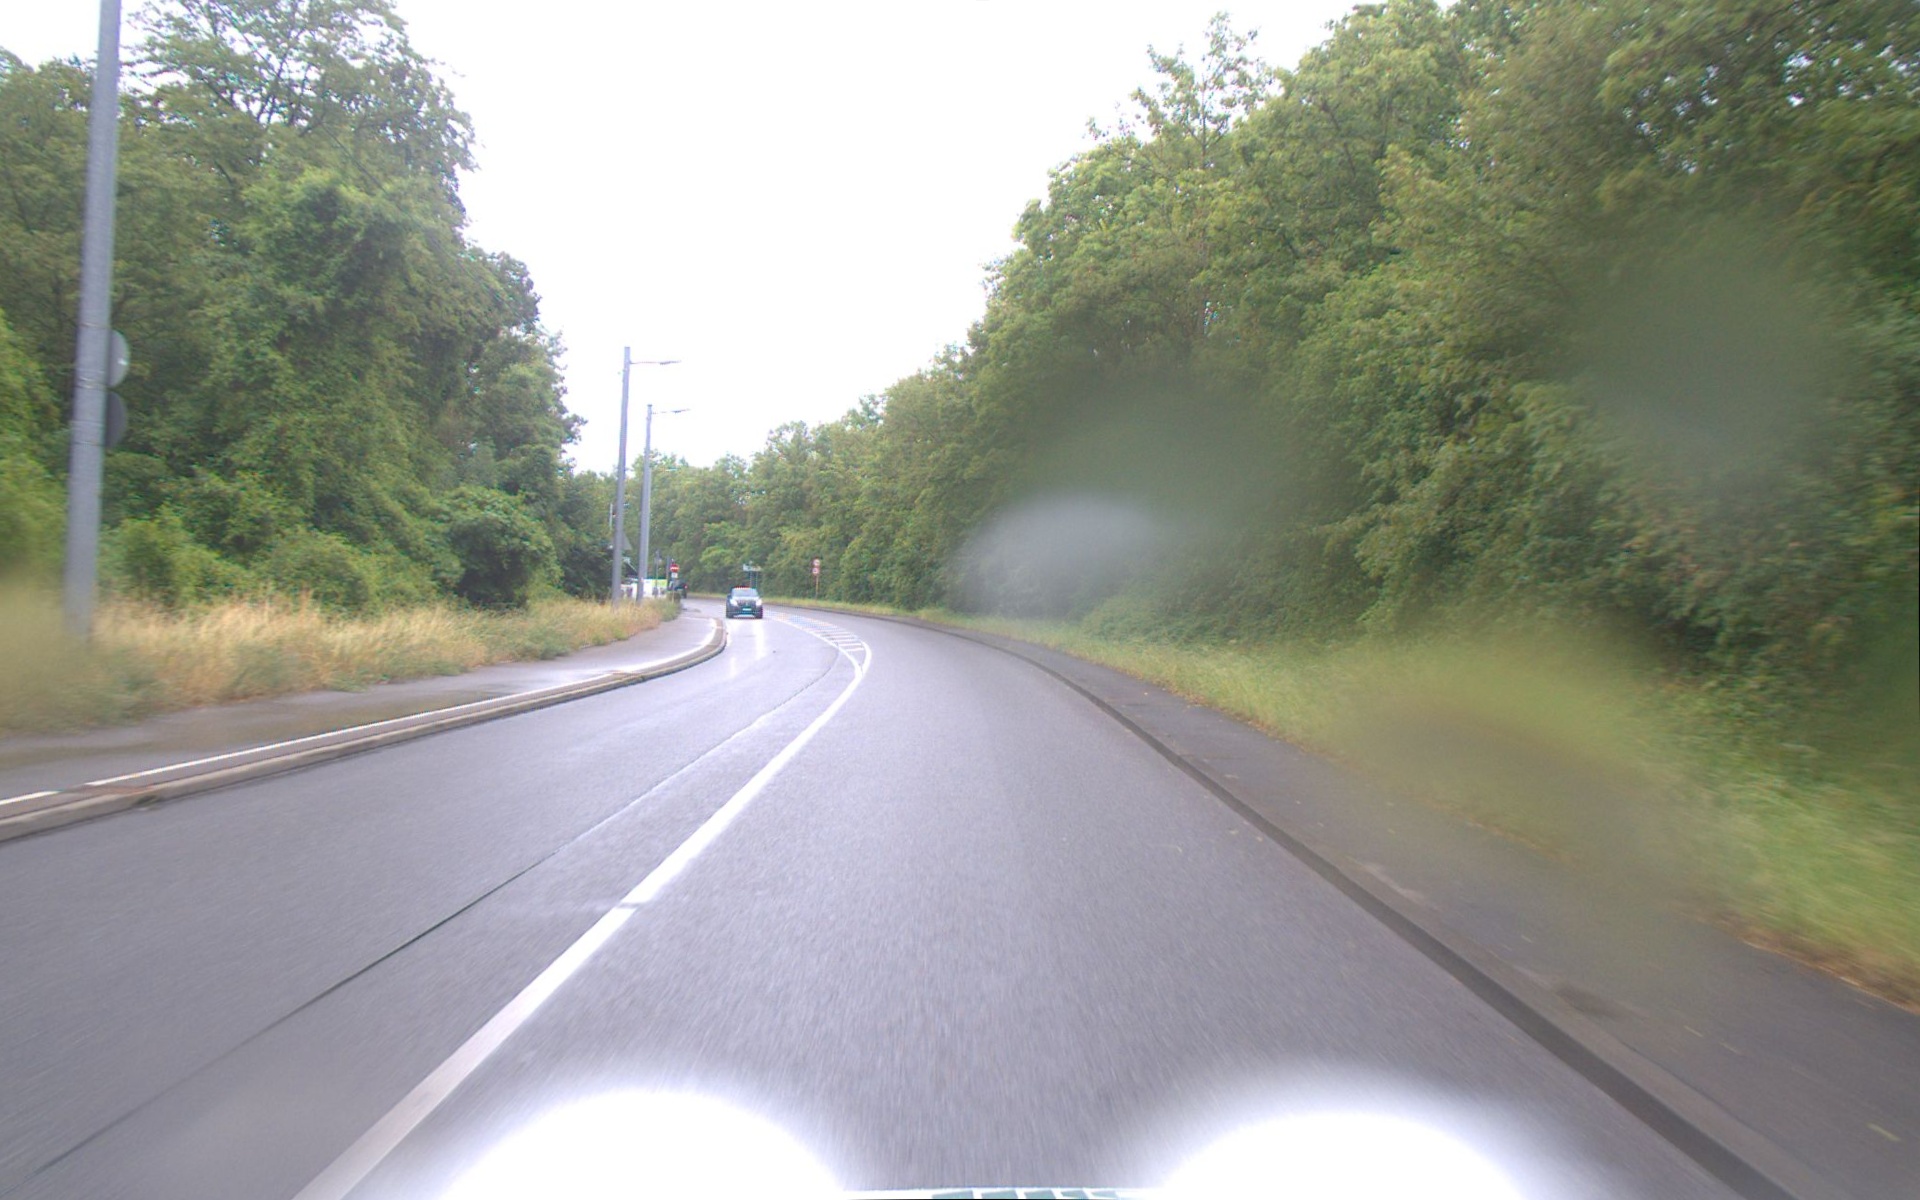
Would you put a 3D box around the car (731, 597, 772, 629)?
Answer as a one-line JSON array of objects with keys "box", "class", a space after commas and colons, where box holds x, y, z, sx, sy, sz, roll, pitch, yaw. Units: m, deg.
[{"box": [-12.283, 0.730, 97.251, 1.959, 1.818, 4.692, 0, 0, -13], "class": "car"}]

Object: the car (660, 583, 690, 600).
[{"box": [-29.845, -0.919, 173.351, 1.848, 1.623, 3.960, -1, 3, -30], "class": "car"}]
